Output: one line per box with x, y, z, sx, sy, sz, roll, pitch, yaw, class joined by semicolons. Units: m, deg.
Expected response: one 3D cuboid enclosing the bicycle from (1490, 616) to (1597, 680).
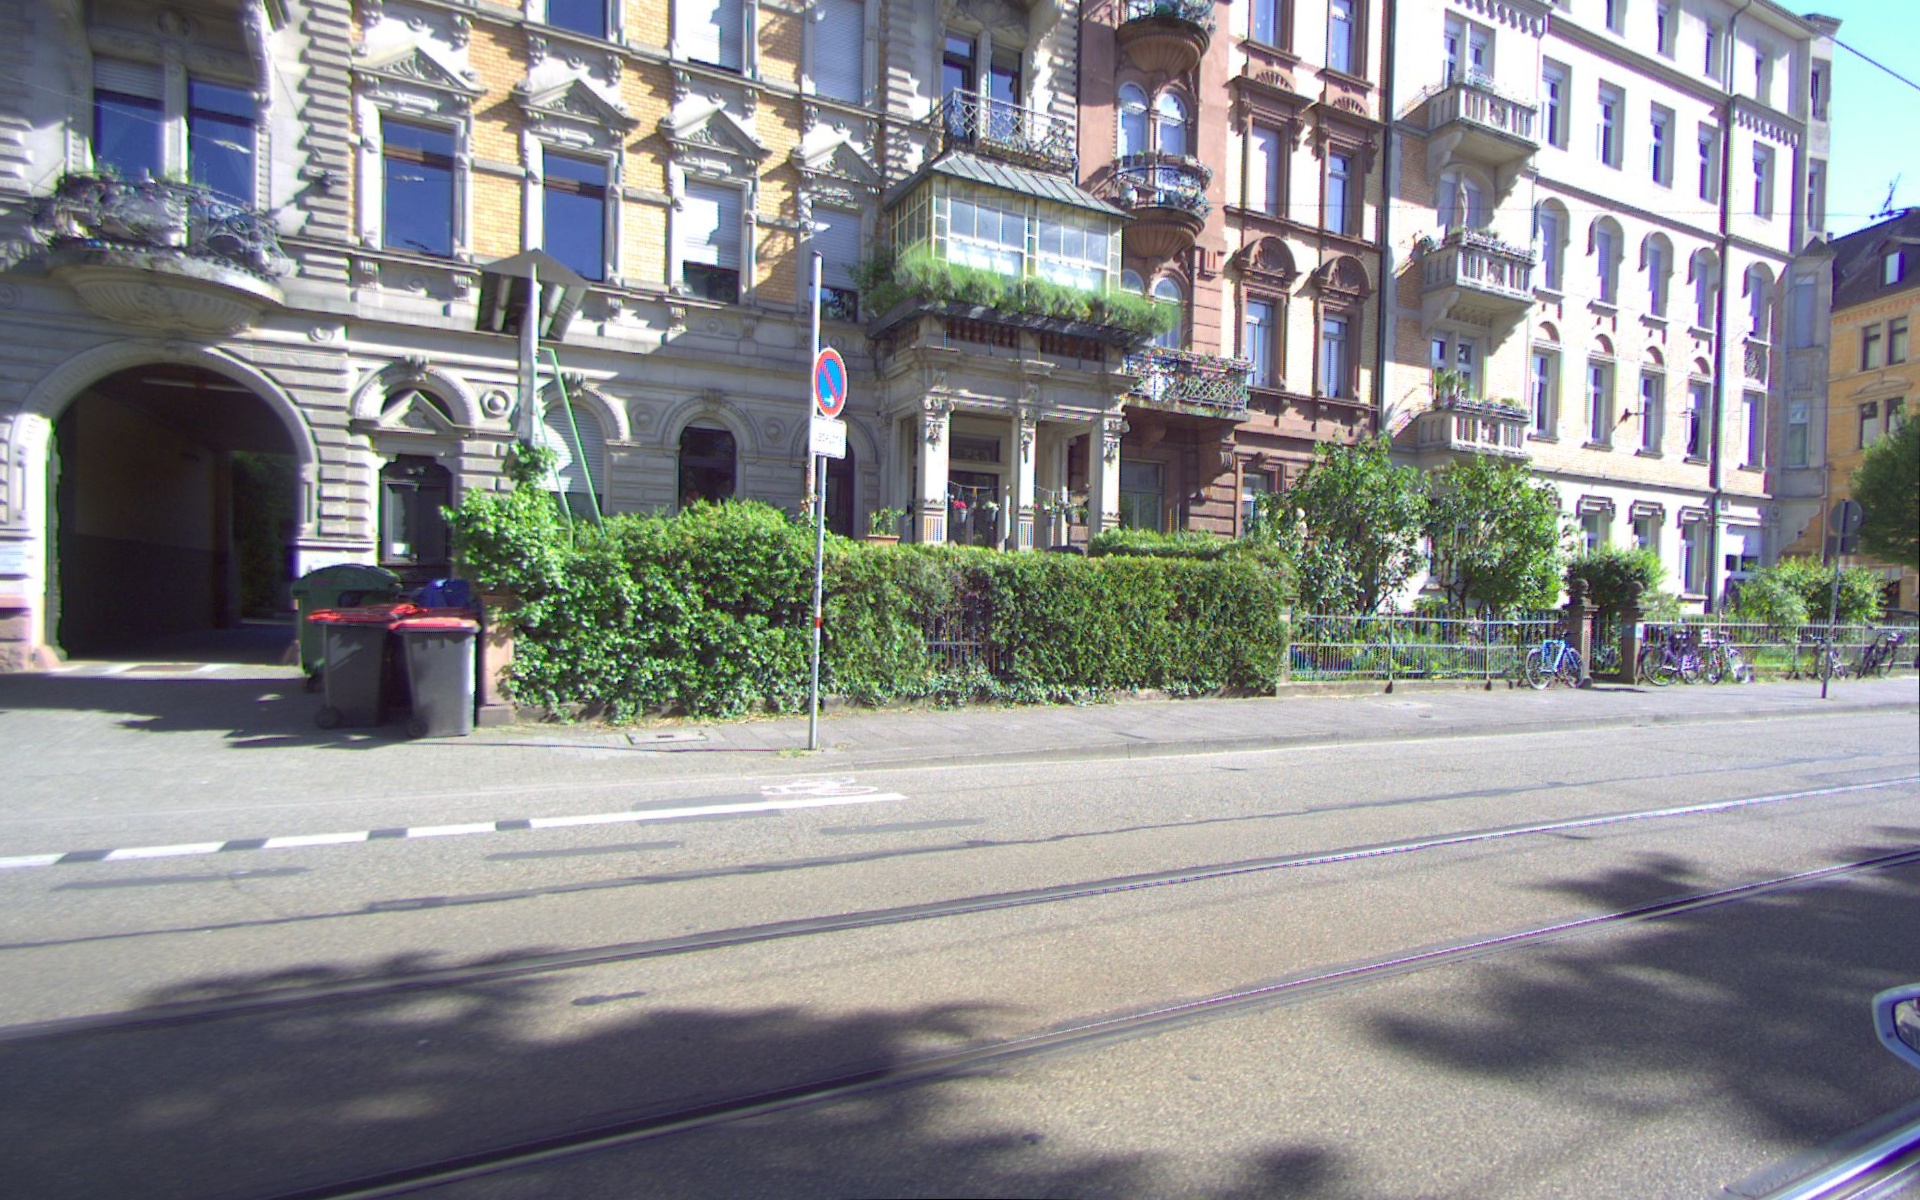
11.369;0.903;19.630;0.557;1.047;1.741;1;4;-27;bicycle

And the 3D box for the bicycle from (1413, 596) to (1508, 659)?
10.582;0.564;21.296;0.557;1.170;1.755;0;4;-27;bicycle

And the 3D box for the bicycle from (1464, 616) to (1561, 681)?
10.430;0.901;19.014;0.473;1.047;1.568;0;4;-27;bicycle

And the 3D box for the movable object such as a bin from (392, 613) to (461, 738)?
-4.934;0.682;9.310;0.534;1.100;0.477;1;2;-25;movable object such as a bin

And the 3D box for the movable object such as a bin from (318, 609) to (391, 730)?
-5.764;0.648;9.584;0.534;1.100;0.477;1;2;-25;movable object such as a bin

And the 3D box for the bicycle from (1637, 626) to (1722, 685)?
13.620;1.032;19.007;1.745;1.047;0.561;1;2;-28;bicycle

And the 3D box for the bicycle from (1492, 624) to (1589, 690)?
10.040;0.965;17.361;1.744;1.047;0.561;0;3;-27;bicycle

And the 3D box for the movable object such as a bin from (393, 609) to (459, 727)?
-5.227;0.651;9.854;0.534;1.100;0.477;1;2;-25;movable object such as a bin

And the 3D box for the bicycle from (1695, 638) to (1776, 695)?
15.394;1.296;19.924;1.745;1.047;0.561;1;2;-28;bicycle

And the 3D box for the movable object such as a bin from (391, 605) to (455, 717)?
-5.516;0.610;10.335;0.534;1.100;0.477;1;2;-25;movable object such as a bin

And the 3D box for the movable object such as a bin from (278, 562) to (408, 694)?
-7.311;0.302;11.992;1.155;1.467;1.315;1;2;-25;movable object such as a bin

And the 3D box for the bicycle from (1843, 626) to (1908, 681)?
19.919;1.144;21.889;0.554;1.047;1.765;2;3;27;bicycle

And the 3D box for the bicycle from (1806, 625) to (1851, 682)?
18.729;1.134;21.683;0.556;1.047;1.760;6;5;38;bicycle

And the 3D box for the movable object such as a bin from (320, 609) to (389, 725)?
-6.052;0.654;10.056;0.534;1.100;0.477;1;2;-25;movable object such as a bin
